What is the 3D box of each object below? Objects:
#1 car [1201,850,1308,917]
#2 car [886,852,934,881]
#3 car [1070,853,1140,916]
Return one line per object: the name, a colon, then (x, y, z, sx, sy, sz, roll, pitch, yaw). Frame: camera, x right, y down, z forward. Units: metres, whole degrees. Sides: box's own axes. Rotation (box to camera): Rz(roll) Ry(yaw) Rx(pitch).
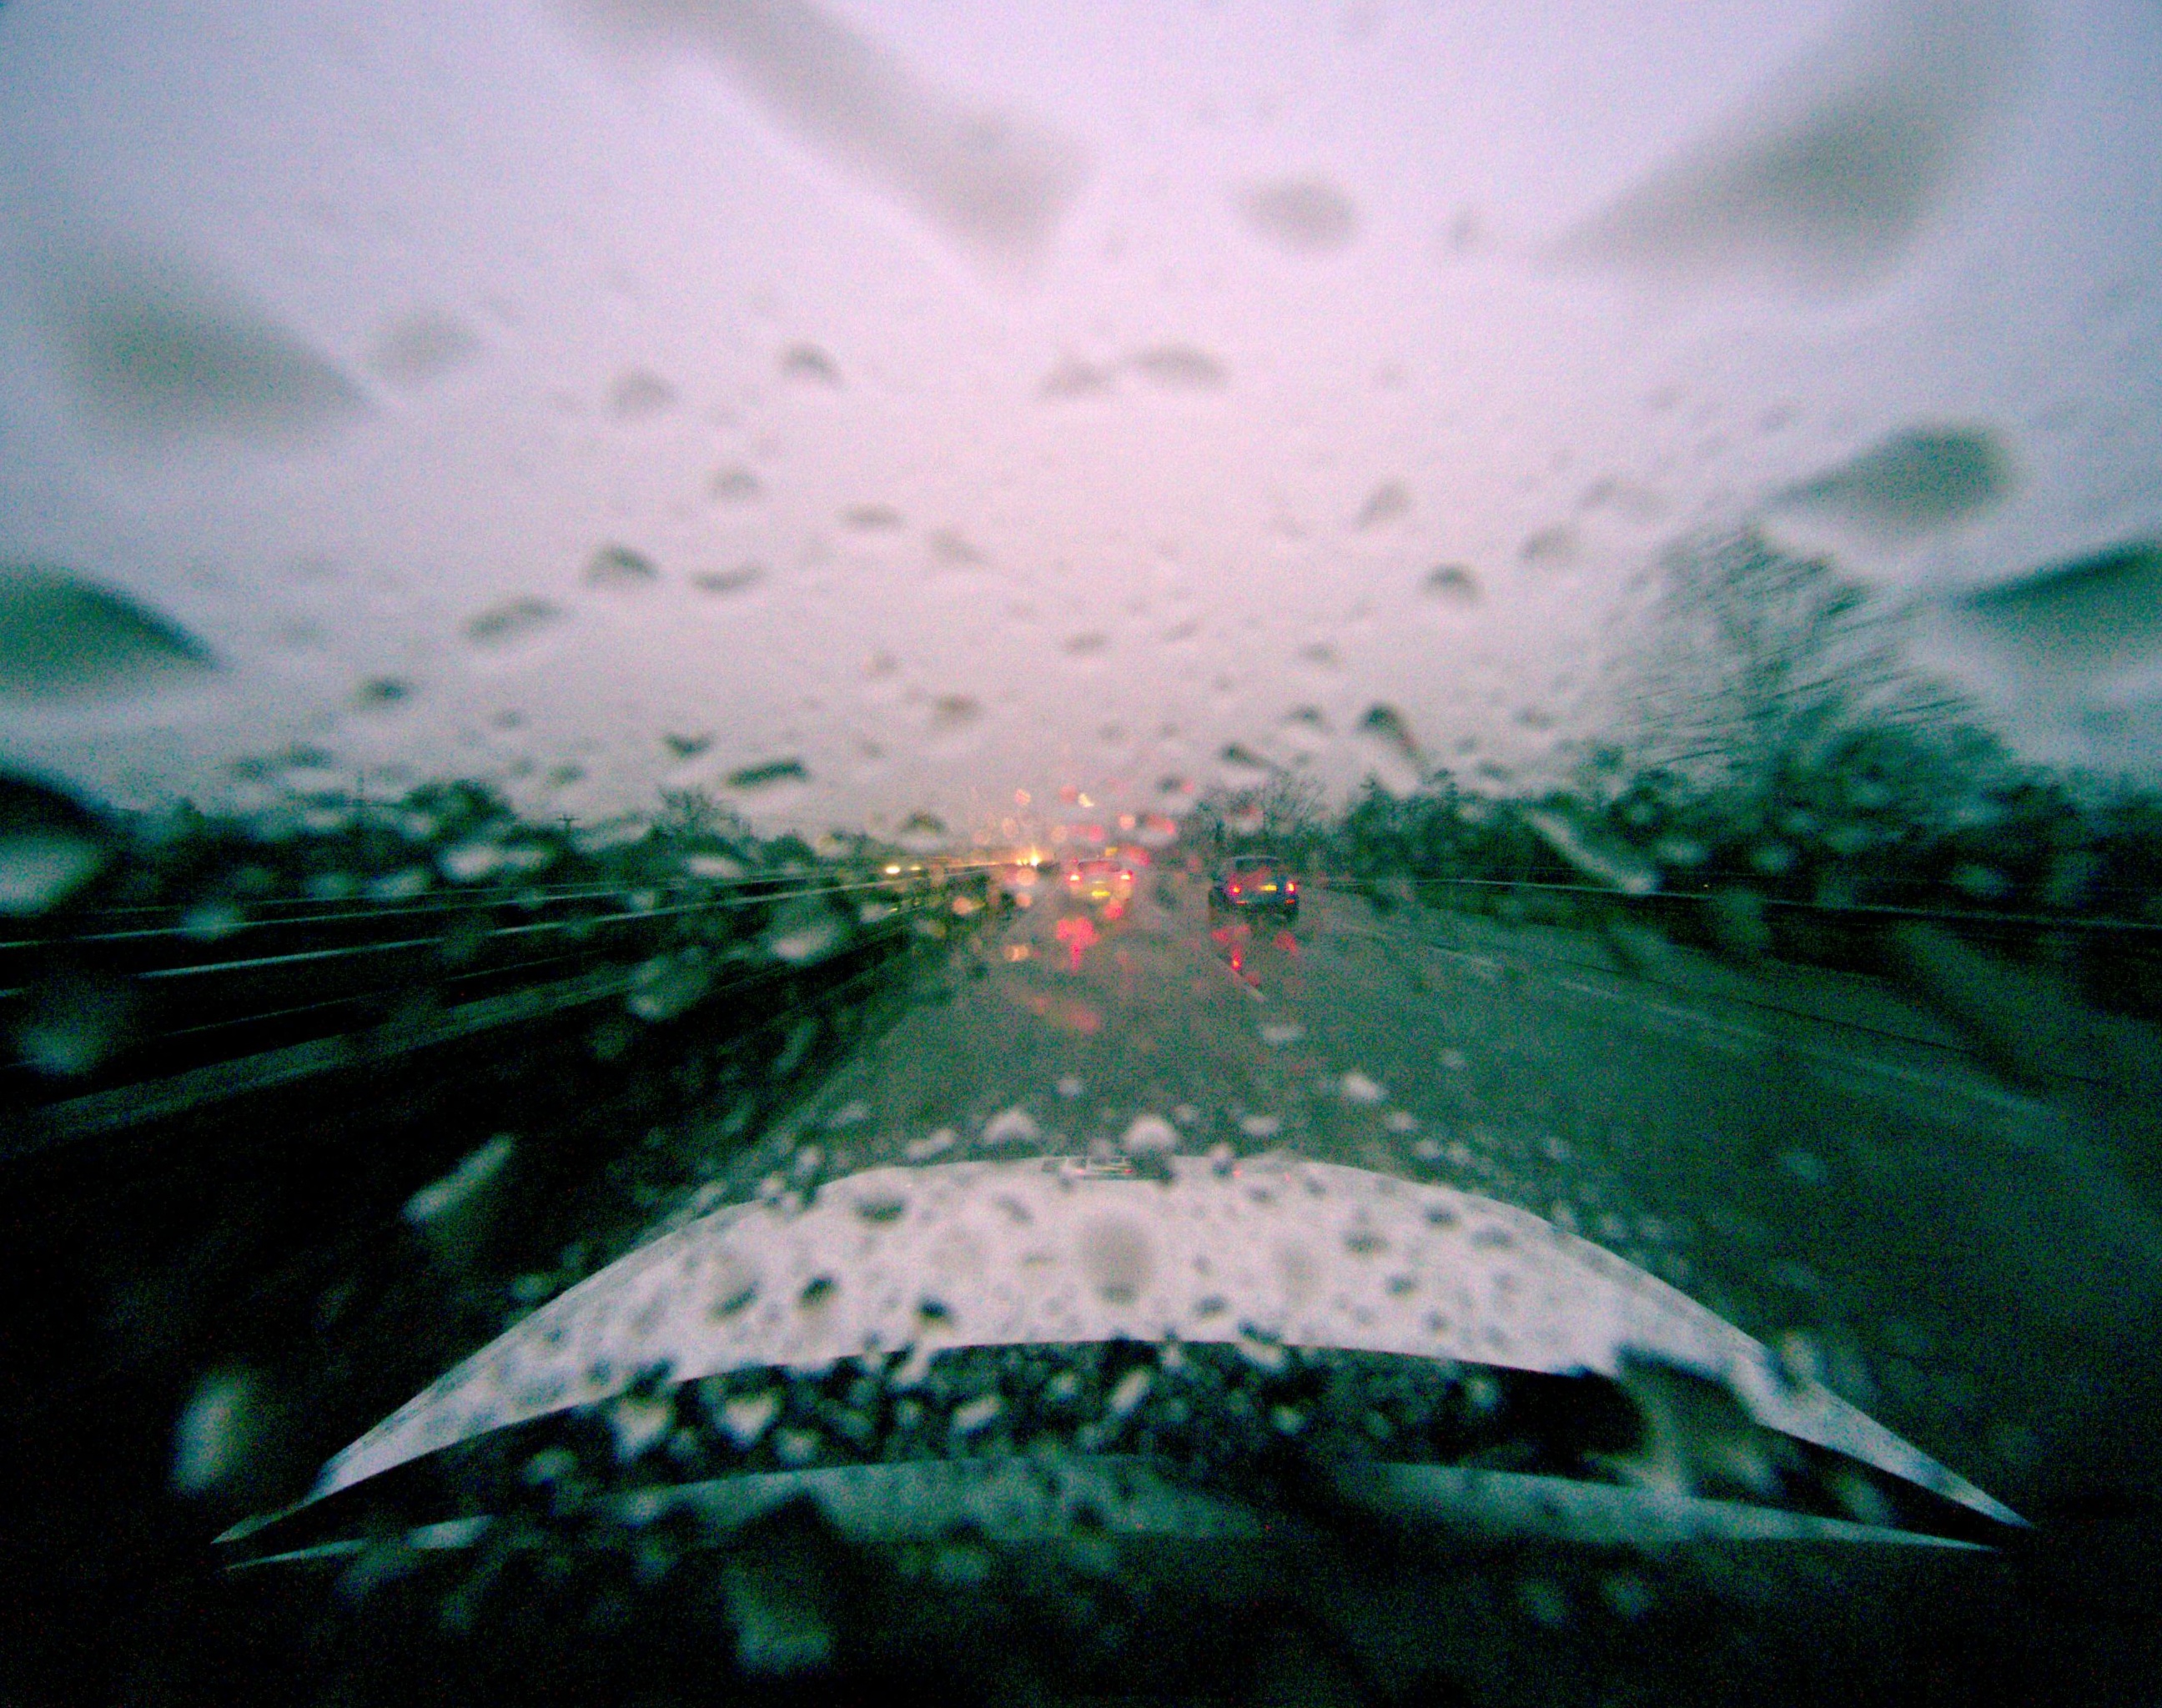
car: (4.163, 0.651, 20.201, 1.839, 1.453, 4.150, -1, 0, 1)
car: (-10.823, 0.777, 51.891, 1.888, 1.784, 4.706, 0, 0, 2)
car: (0.723, 0.814, 23.535, 1.838, 1.636, 3.770, -1, 0, 3)
